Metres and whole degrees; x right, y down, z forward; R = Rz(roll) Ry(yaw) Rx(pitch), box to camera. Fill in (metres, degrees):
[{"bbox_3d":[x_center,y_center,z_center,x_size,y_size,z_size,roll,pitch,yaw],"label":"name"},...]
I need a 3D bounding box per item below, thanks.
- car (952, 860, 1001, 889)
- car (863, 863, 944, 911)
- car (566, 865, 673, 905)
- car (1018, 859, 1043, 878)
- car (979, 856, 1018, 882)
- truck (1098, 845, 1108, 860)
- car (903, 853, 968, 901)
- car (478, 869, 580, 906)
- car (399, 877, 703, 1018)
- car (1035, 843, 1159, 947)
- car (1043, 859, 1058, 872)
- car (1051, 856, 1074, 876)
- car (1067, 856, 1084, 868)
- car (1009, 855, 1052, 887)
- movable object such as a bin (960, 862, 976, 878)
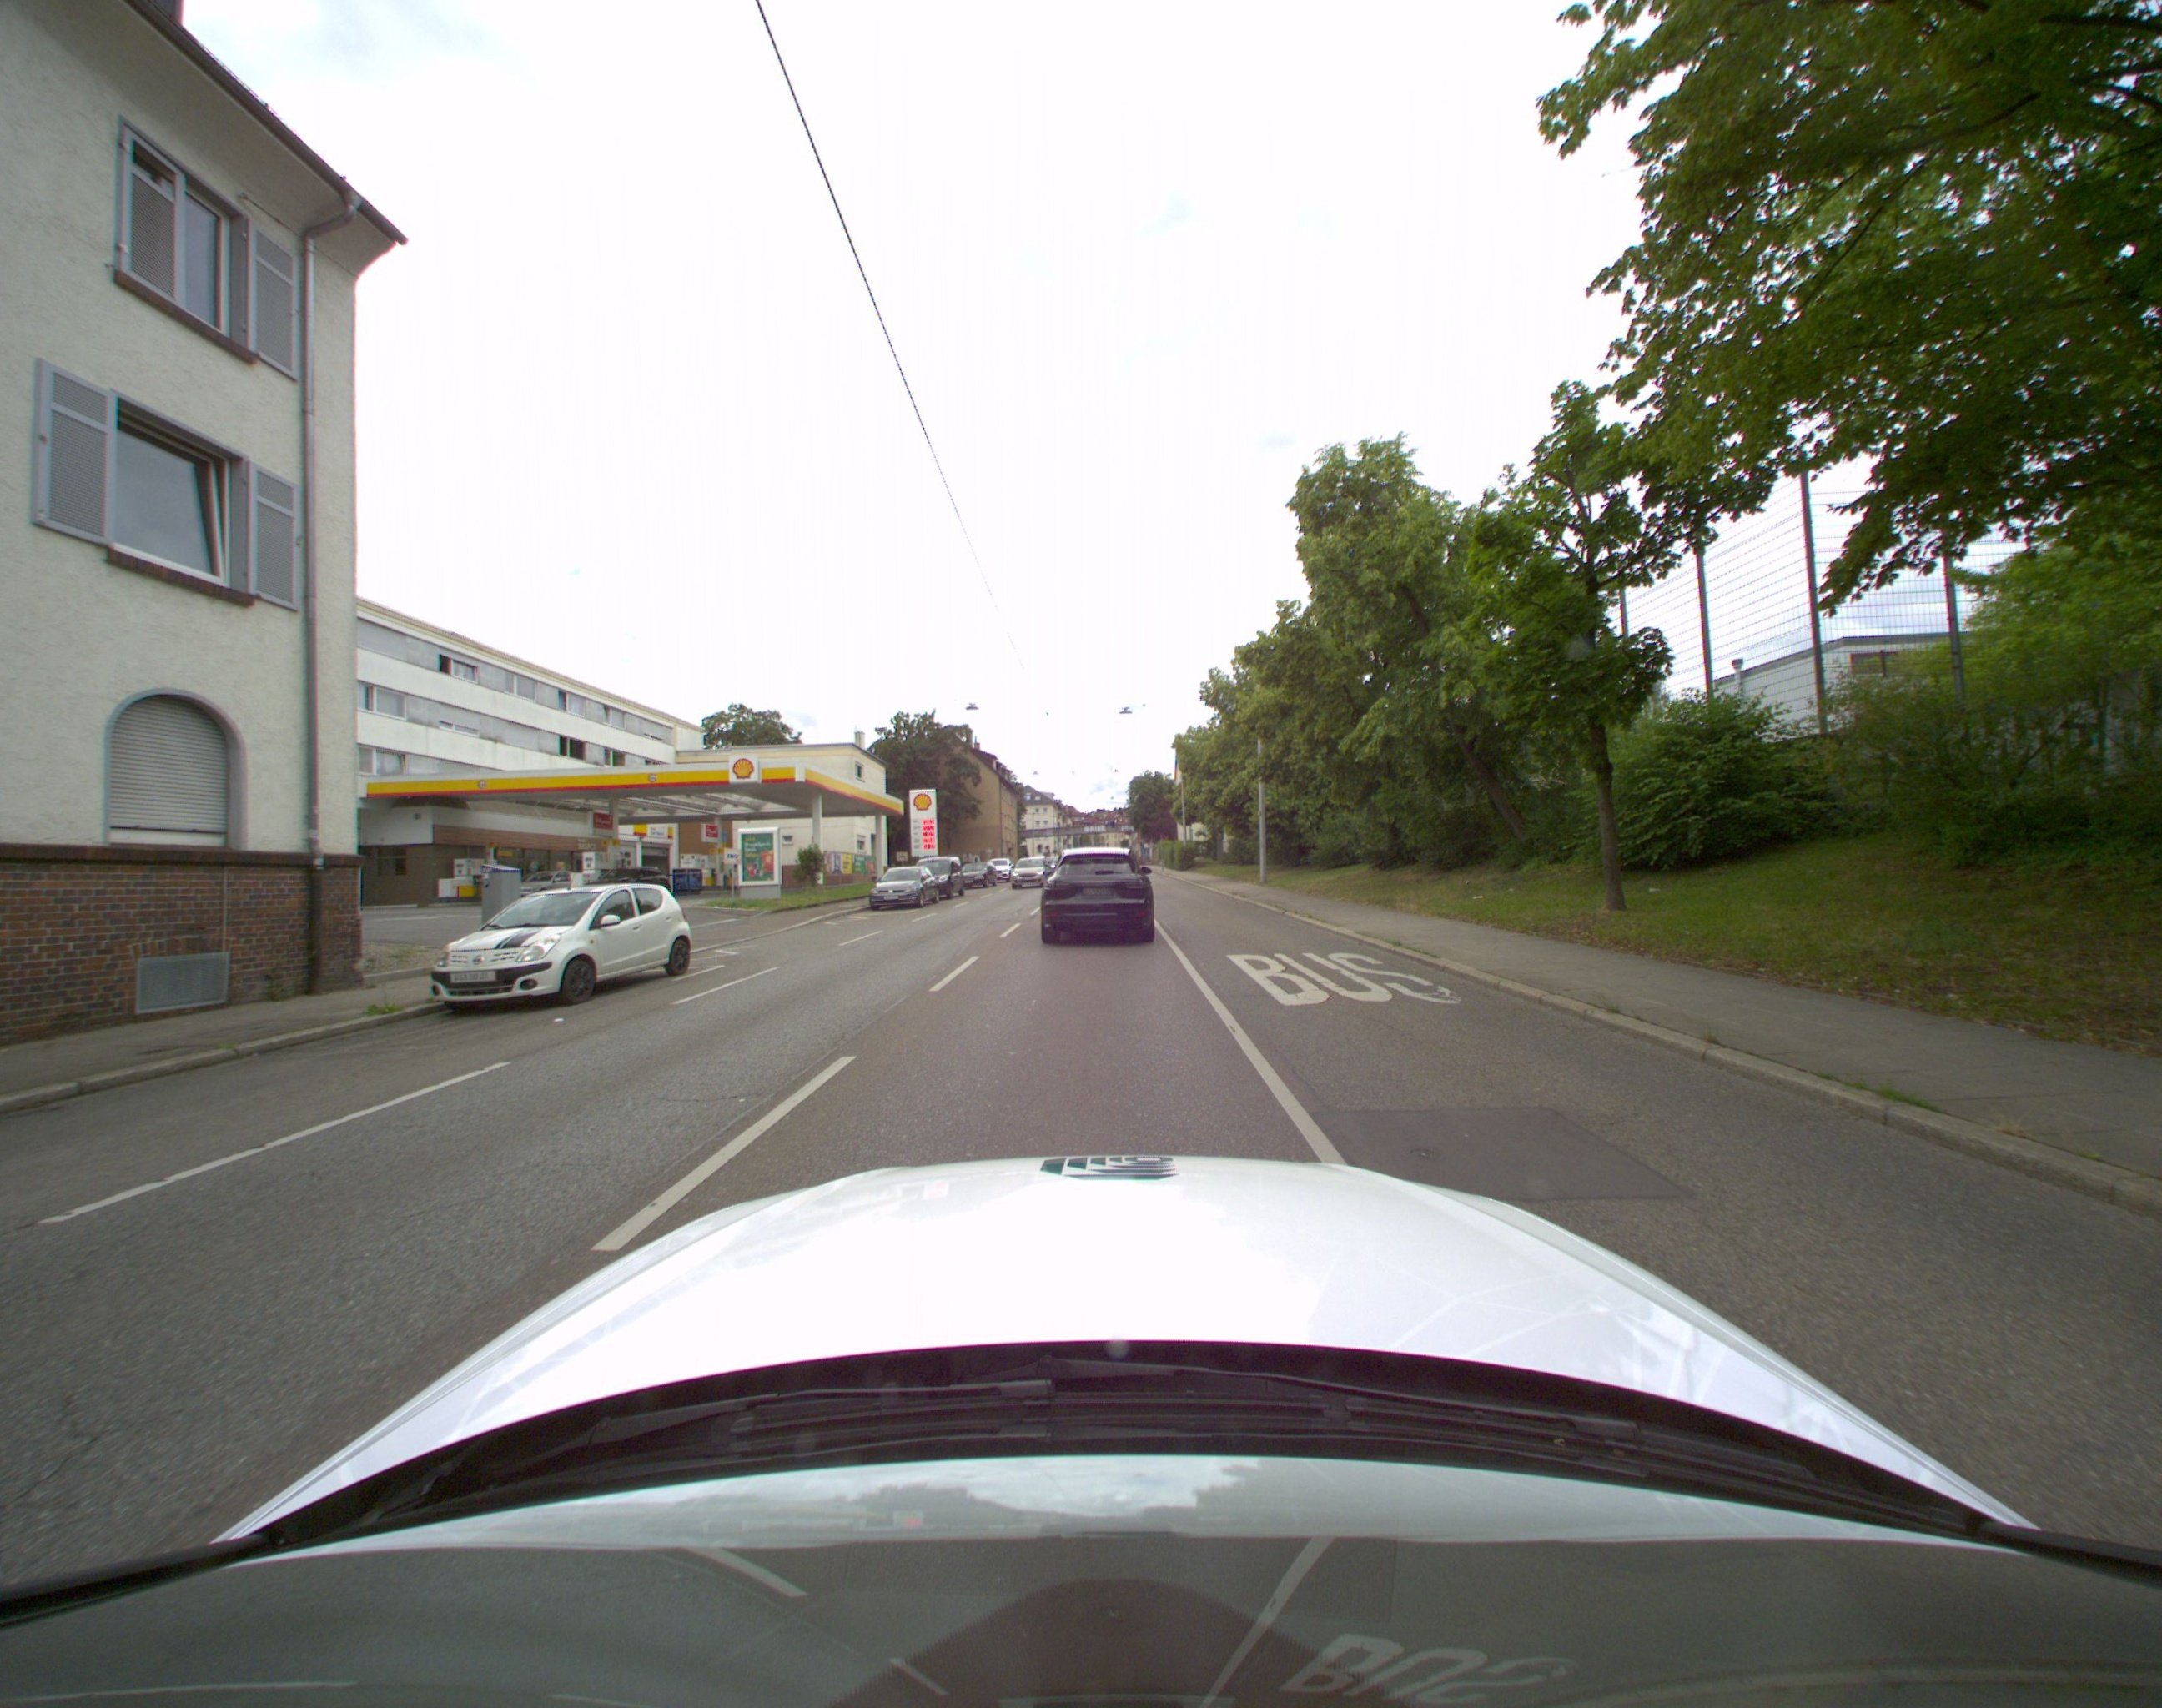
[{"bbox_3d":[-5.904,1.104,46.388,1.790,1.431,4.748,-3,0,4],"label":"car"},{"bbox_3d":[-6.291,1.124,29.328,1.784,1.450,4.220,-3,0,2],"label":"car"},{"bbox_3d":[-18.873,1.228,33.560,1.791,1.420,4.418,-1,0,2],"label":"car"},{"bbox_3d":[-4.716,1.376,77.047,1.776,1.609,4.267,-4,0,3],"label":"car"},{"bbox_3d":[-5.542,1.002,55.449,1.908,1.577,4.702,-3,0,2],"label":"car"},{"bbox_3d":[5.264,-0.273,195.238,2.258,3.424,9.881,-2,-1,2],"label":"truck"},{"bbox_3d":[-6.127,0.915,34.829,1.845,1.835,4.701,-3,0,0],"label":"car"},{"bbox_3d":[-23.770,1.411,35.231,1.791,1.420,3.637,-1,0,2],"label":"car"},{"bbox_3d":[-6.949,1.128,11.192,1.613,1.425,3.667,-3,0,2],"label":"car"},{"bbox_3d":[0.337,0.654,15.379,1.986,1.662,4.002,-1,0,2],"label":"car"},{"bbox_3d":[-3.991,1.528,107.576,1.740,1.568,3.907,-3,-1,0],"label":"car"},{"bbox_3d":[-1.480,0.980,67.356,1.677,1.555,3.719,-3,0,1],"label":"car"},{"bbox_3d":[-0.655,0.968,99.936,1.771,1.466,4.501,-3,0,2],"label":"car"},{"bbox_3d":[-2.583,0.847,42.482,1.791,1.525,4.001,-3,0,2],"label":"car"},{"bbox_3d":[-10.384,1.446,74.959,1.278,1.428,1.278,-1,0,-3],"label":"movable object such as a bin"}]
